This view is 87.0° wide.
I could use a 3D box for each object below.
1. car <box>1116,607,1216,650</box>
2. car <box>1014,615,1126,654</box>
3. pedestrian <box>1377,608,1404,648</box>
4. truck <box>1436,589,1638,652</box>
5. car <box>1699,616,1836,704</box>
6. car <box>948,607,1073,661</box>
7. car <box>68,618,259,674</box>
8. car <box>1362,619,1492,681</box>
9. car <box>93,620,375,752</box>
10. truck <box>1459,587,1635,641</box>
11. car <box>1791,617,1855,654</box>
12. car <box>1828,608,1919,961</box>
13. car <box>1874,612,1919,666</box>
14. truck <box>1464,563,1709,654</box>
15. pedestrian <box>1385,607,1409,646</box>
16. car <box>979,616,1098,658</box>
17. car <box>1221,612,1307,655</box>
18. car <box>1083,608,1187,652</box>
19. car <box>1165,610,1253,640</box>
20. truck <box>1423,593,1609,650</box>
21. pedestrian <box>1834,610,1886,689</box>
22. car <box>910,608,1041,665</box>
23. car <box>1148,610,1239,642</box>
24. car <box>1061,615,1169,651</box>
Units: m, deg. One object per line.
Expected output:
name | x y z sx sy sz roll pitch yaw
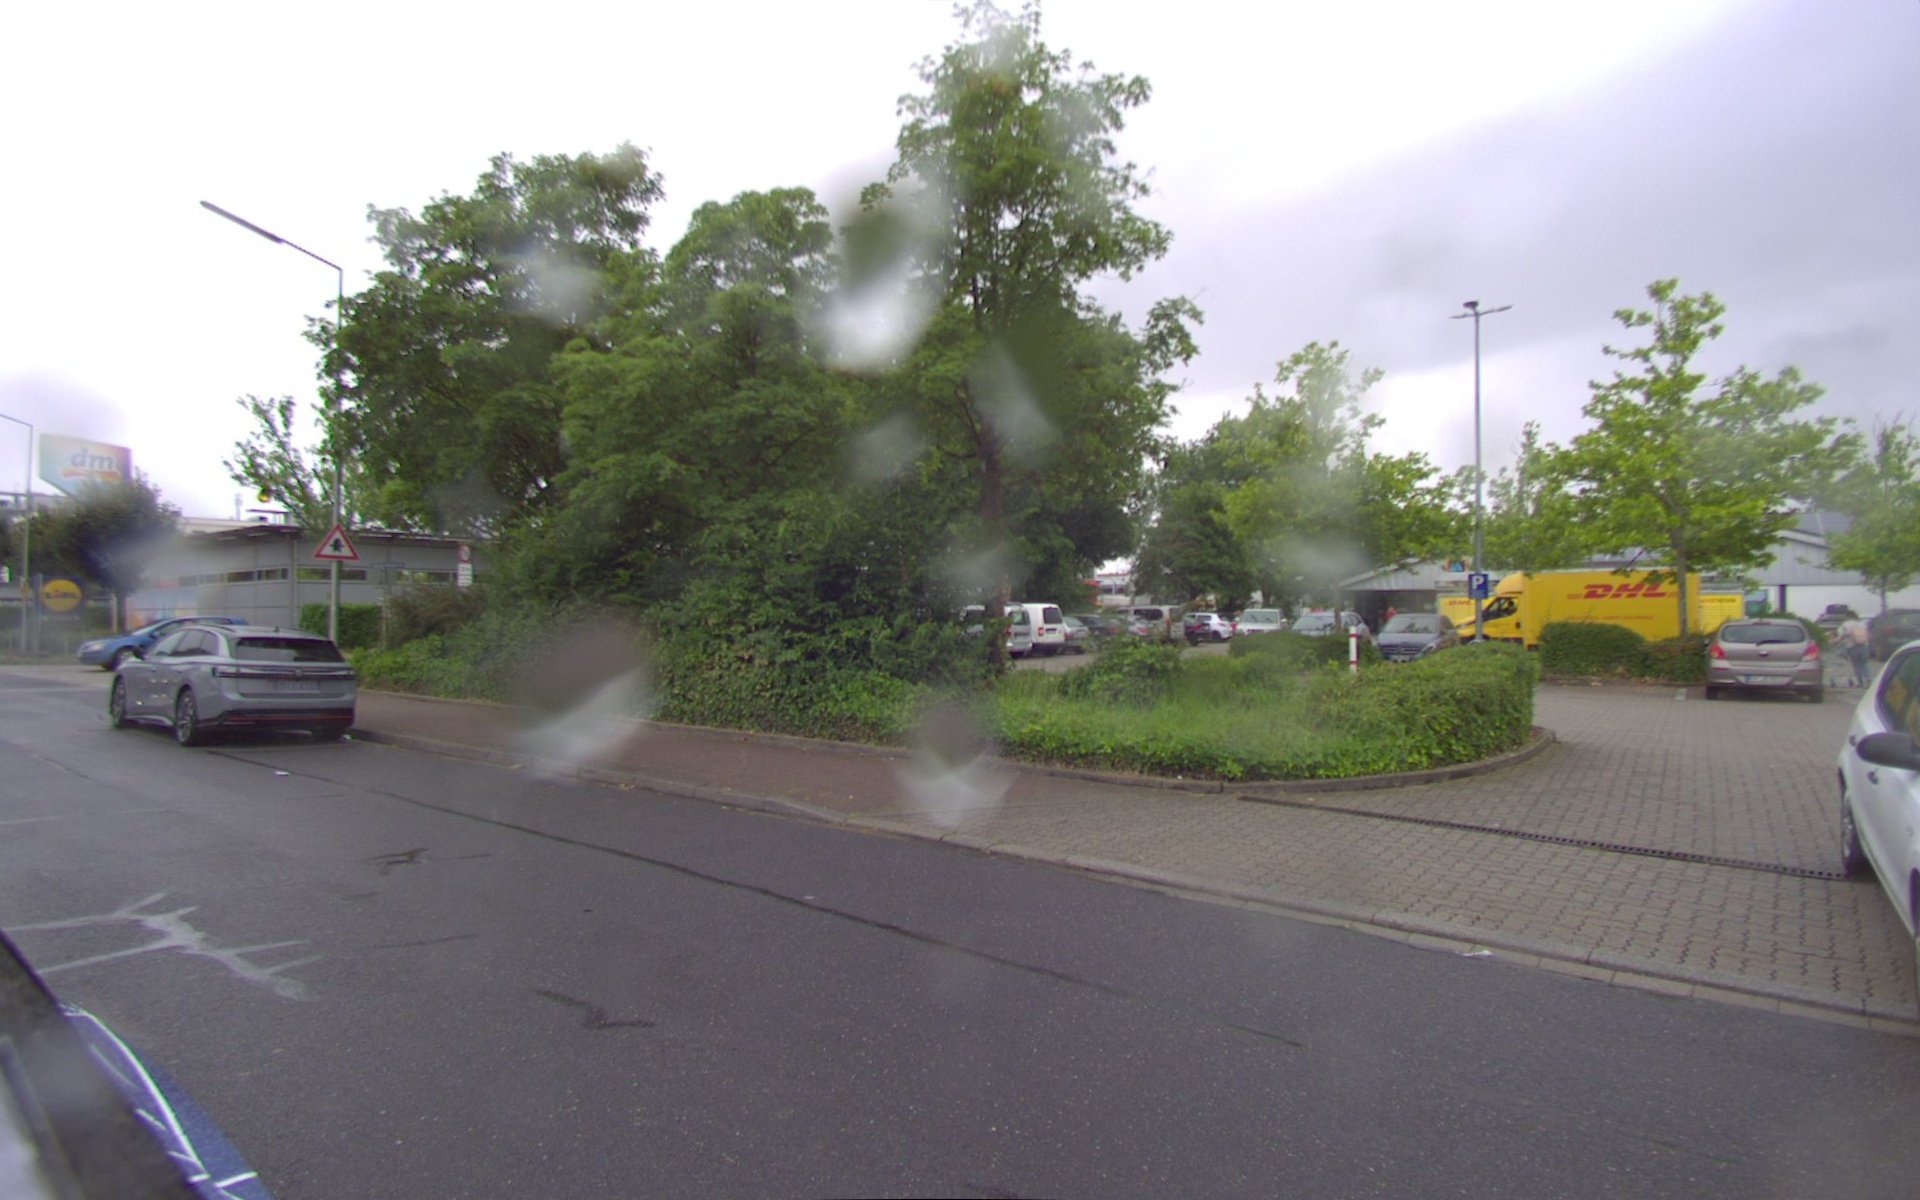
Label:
car | 9.237 1.272 45.444 3.986 1.829 1.978 -1 -1 32
car | 4.338 1.348 40.119 3.986 1.497 1.978 -1 -1 32
pedestrian | 21.406 1.393 50.321 0.910 1.977 1.291 -1 -2 37
truck | 20.657 0.751 36.396 6.121 2.110 1.976 -1 -2 36
car | 15.113 1.058 19.123 1.708 1.471 4.154 -1 -2 35
car | 1.766 1.185 35.749 3.986 1.807 1.978 -1 -1 32
car | -22.564 1.286 28.804 1.733 1.452 3.950 -1 -3 37
car | 11.940 1.200 25.758 1.999 1.431 3.945 -1 -2 41
car | -10.240 1.115 14.147 4.740 1.540 1.792 -1 -5 37
truck | 24.067 0.612 41.641 6.121 2.076 1.976 -1 -2 36
car | 37.433 1.500 43.990 1.998 1.533 3.947 -1 -2 40
car | 5.050 0.781 4.228 1.708 1.471 4.154 -1 -1 35
car | 28.943 1.139 30.409 1.998 1.533 3.947 -1 -2 40
truck | 19.668 0.312 32.029 6.390 2.621 1.974 -1 -2 40
pedestrian | 22.997 1.391 53.249 0.910 1.977 1.291 -1 -2 37
car | 2.913 1.350 37.711 3.986 1.497 1.978 -1 -1 32
car | 11.880 1.280 39.361 2.022 1.562 4.244 -1 -1 34
car | 7.508 1.264 43.493 3.986 1.829 1.978 -1 -1 32
car | 12.849 1.267 52.291 3.986 1.497 1.978 -1 -1 32
truck | 21.441 0.827 39.210 6.121 2.076 1.976 -1 -2 36
pedestrian | 19.336 1.042 21.756 0.769 1.646 0.768 -1 -2 39
car | 0.491 1.188 34.008 3.986 1.807 1.978 -1 -1 32
car | 11.532 1.268 50.055 3.986 1.497 1.978 -1 -1 32
car | 6.354 1.343 41.578 3.986 1.431 1.978 -1 -1 32
